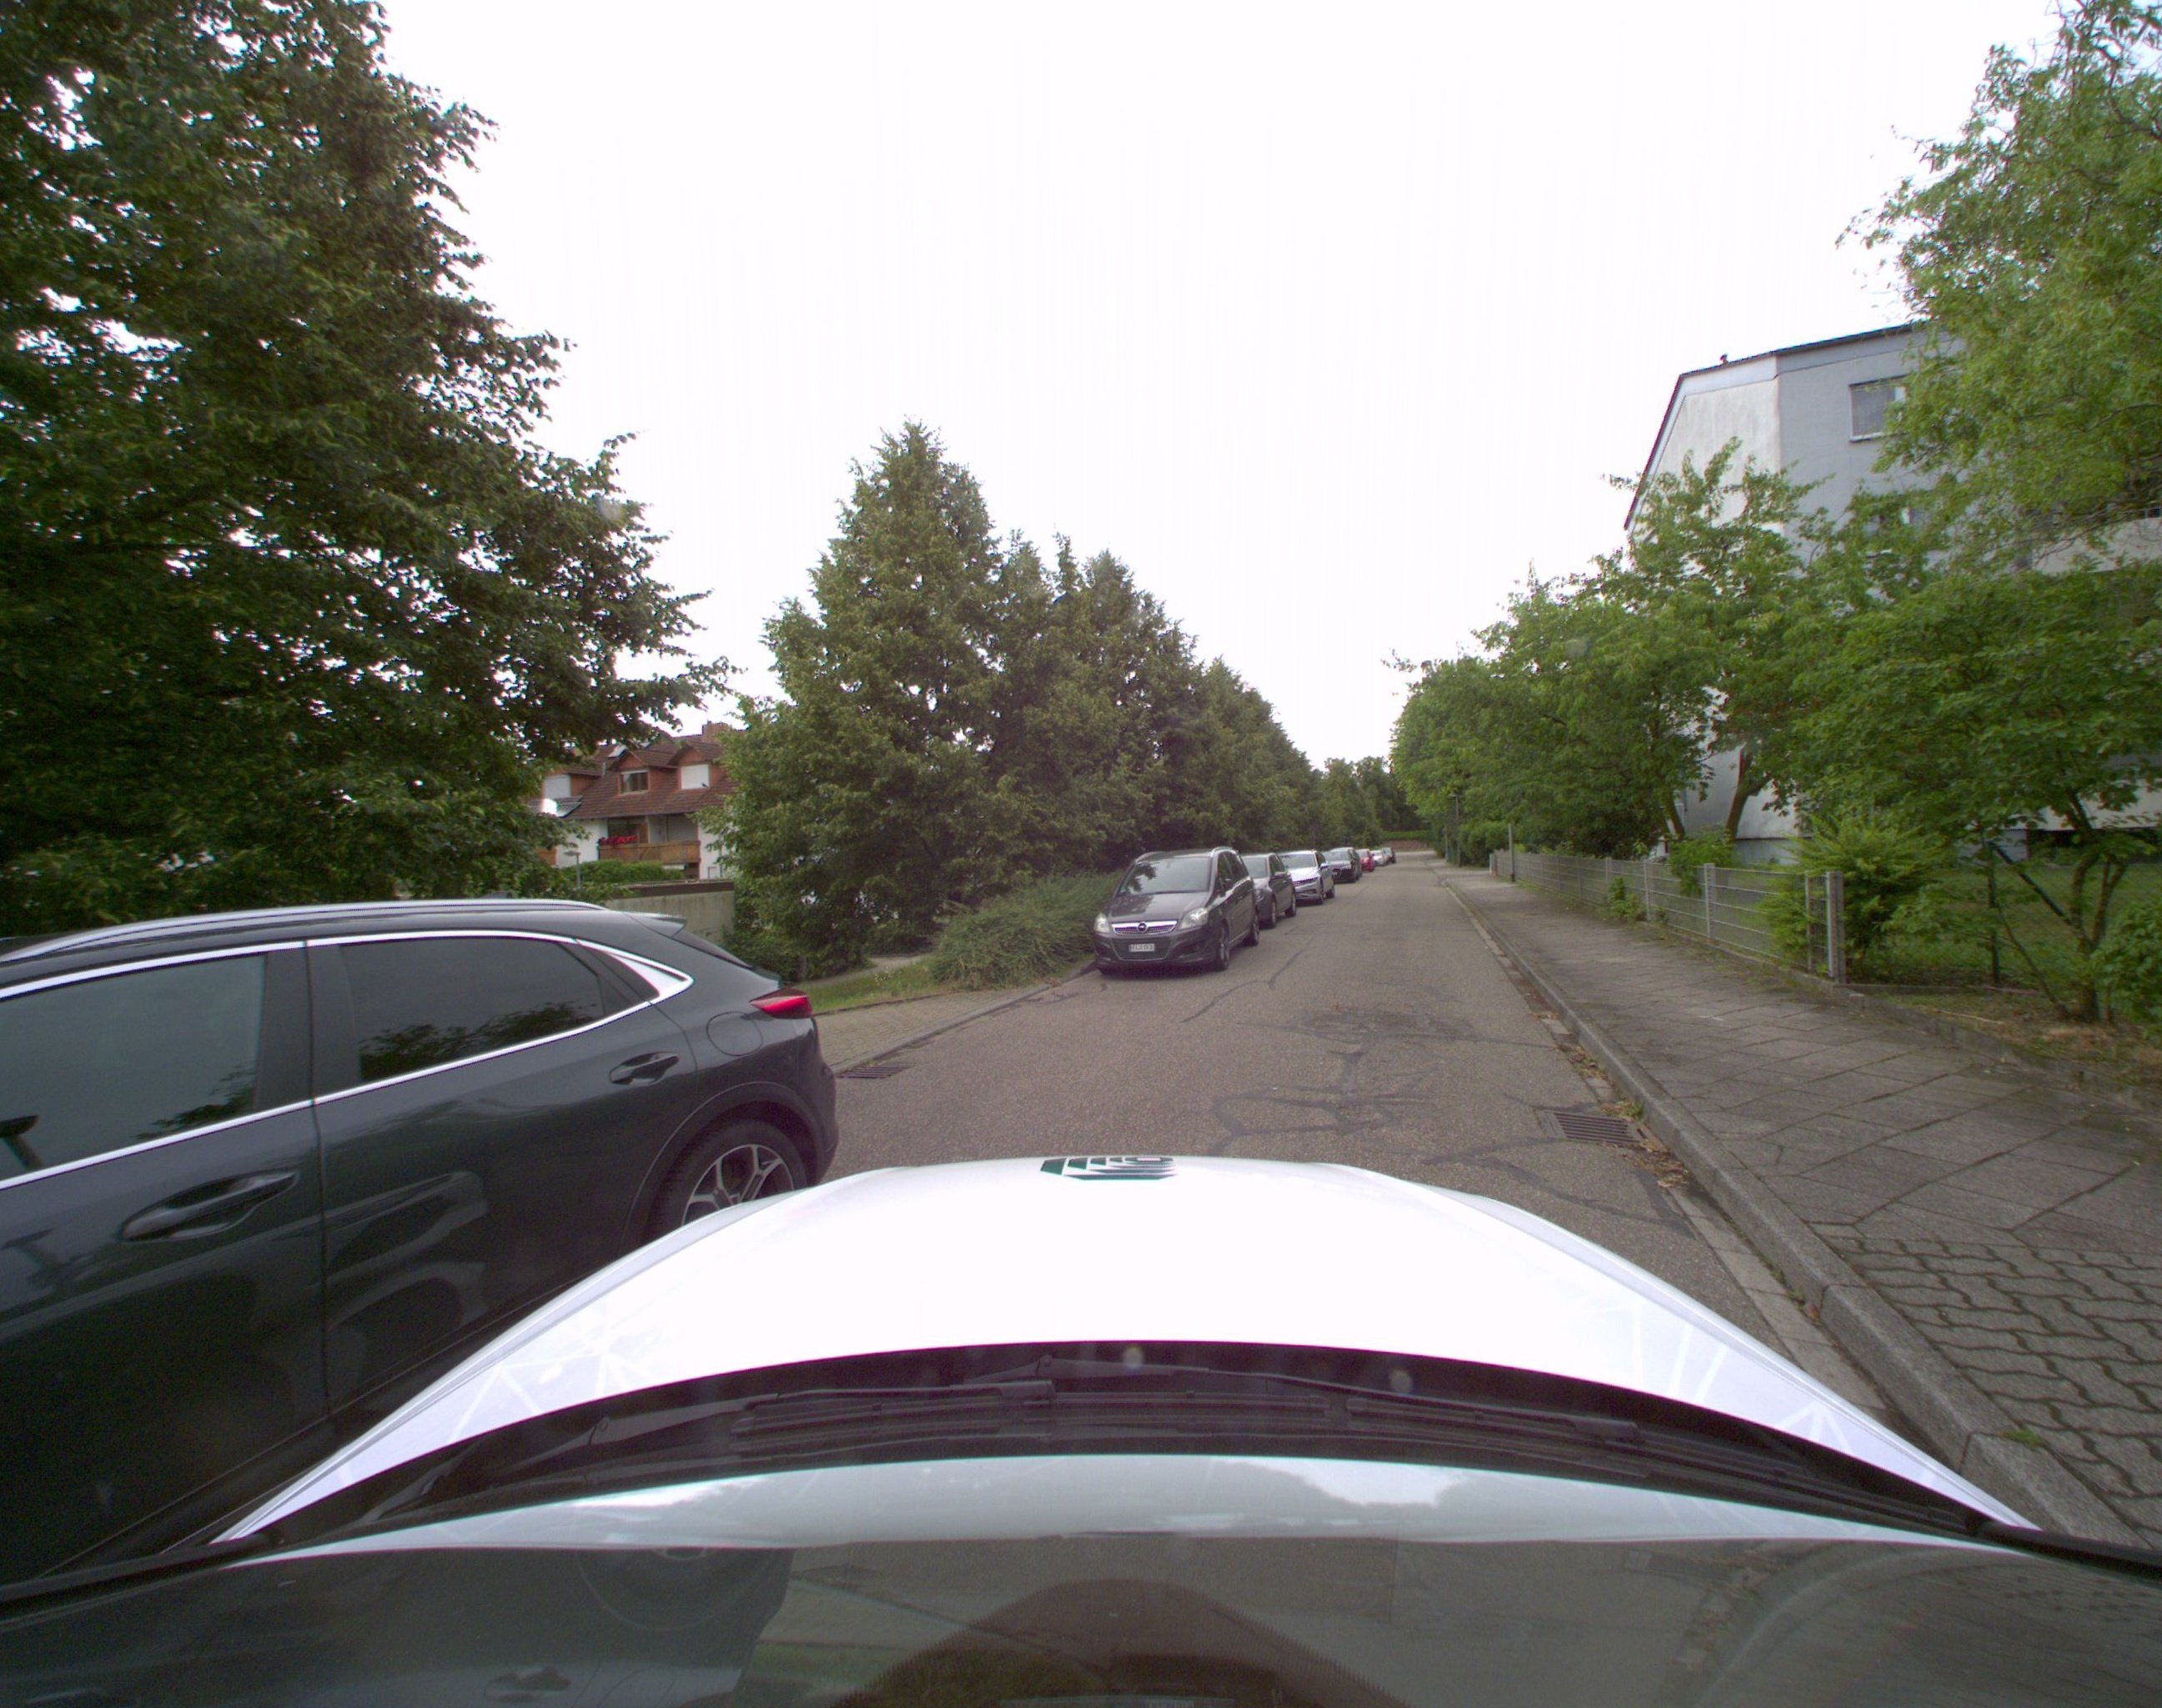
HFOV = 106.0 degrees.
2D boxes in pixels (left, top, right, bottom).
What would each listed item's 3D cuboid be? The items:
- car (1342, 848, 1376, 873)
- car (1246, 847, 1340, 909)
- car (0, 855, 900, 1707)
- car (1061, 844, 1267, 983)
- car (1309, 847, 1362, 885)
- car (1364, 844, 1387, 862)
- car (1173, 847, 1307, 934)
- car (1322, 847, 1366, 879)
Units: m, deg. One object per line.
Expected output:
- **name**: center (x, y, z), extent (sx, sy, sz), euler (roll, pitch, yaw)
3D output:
- **car**: center (17.983, 0.406, 52.627), extent (1.736, 1.425, 4.022), euler (-5, -1, 23)
- **car**: center (6.046, 0.604, 22.857), extent (1.760, 1.428, 4.504), euler (-5, -1, 24)
- **car**: center (-2.462, 0.864, 1.910), extent (1.726, 1.531, 4.219), euler (-5, -1, 23)
- **car**: center (1.451, 0.720, 12.053), extent (1.742, 1.593, 4.577), euler (-5, -1, 21)
- **car**: center (11.061, 0.472, 35.261), extent (1.736, 1.425, 4.022), euler (-5, -1, 23)
- **car**: center (26.635, -0.137, 73.577), extent (1.736, 1.519, 4.022), euler (-3, 0, 23)
- **car**: center (3.492, 0.689, 17.231), extent (1.741, 1.478, 4.330), euler (-5, -1, 24)
- **car**: center (13.548, 0.442, 41.808), extent (1.736, 1.425, 4.022), euler (-5, -1, 23)
